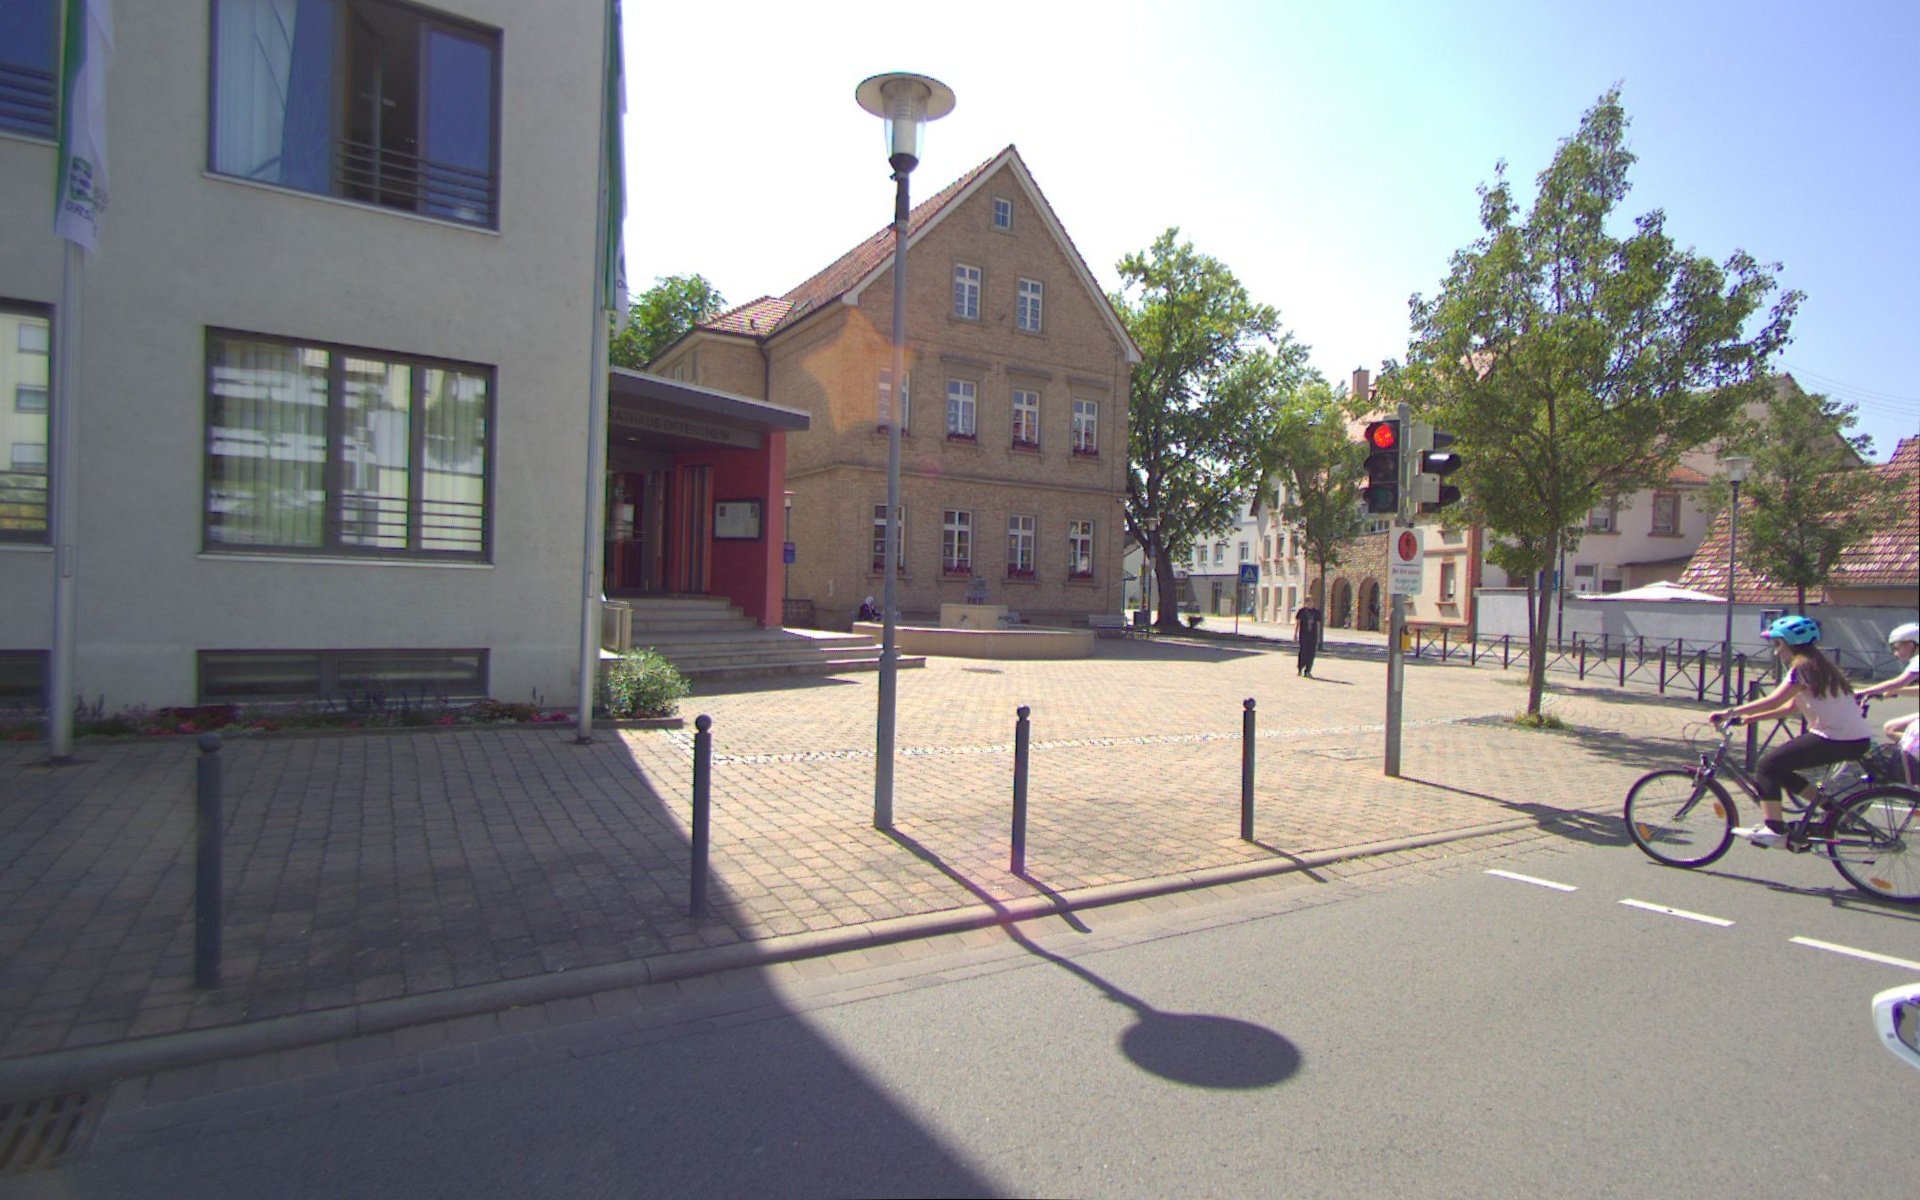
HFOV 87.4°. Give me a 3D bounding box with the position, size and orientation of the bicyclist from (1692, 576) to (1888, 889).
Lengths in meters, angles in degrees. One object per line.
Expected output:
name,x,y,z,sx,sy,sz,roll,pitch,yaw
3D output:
bicyclist,4.668,0.689,5.658,0.666,1.602,0.752,1,-1,-42

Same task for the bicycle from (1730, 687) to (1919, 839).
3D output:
bicycle,6.857,1.183,7.318,0.668,0.970,1.882,1,-1,-29

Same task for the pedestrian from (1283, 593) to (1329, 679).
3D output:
pedestrian,7.107,0.721,20.648,0.798,1.676,0.851,3,1,19

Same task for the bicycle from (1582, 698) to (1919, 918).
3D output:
bicycle,4.679,1.113,5.674,0.671,0.970,1.873,1,-1,-41

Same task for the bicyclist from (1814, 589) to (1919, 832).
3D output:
bicyclist,6.853,0.777,7.348,0.663,1.686,0.755,1,-1,-30

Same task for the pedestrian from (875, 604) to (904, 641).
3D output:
pedestrian,-2.040,0.644,29.042,0.611,1.041,0.636,2,1,-29

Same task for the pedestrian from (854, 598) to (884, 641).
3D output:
pedestrian,-2.586,0.563,28.609,0.611,1.186,0.636,2,1,-29
